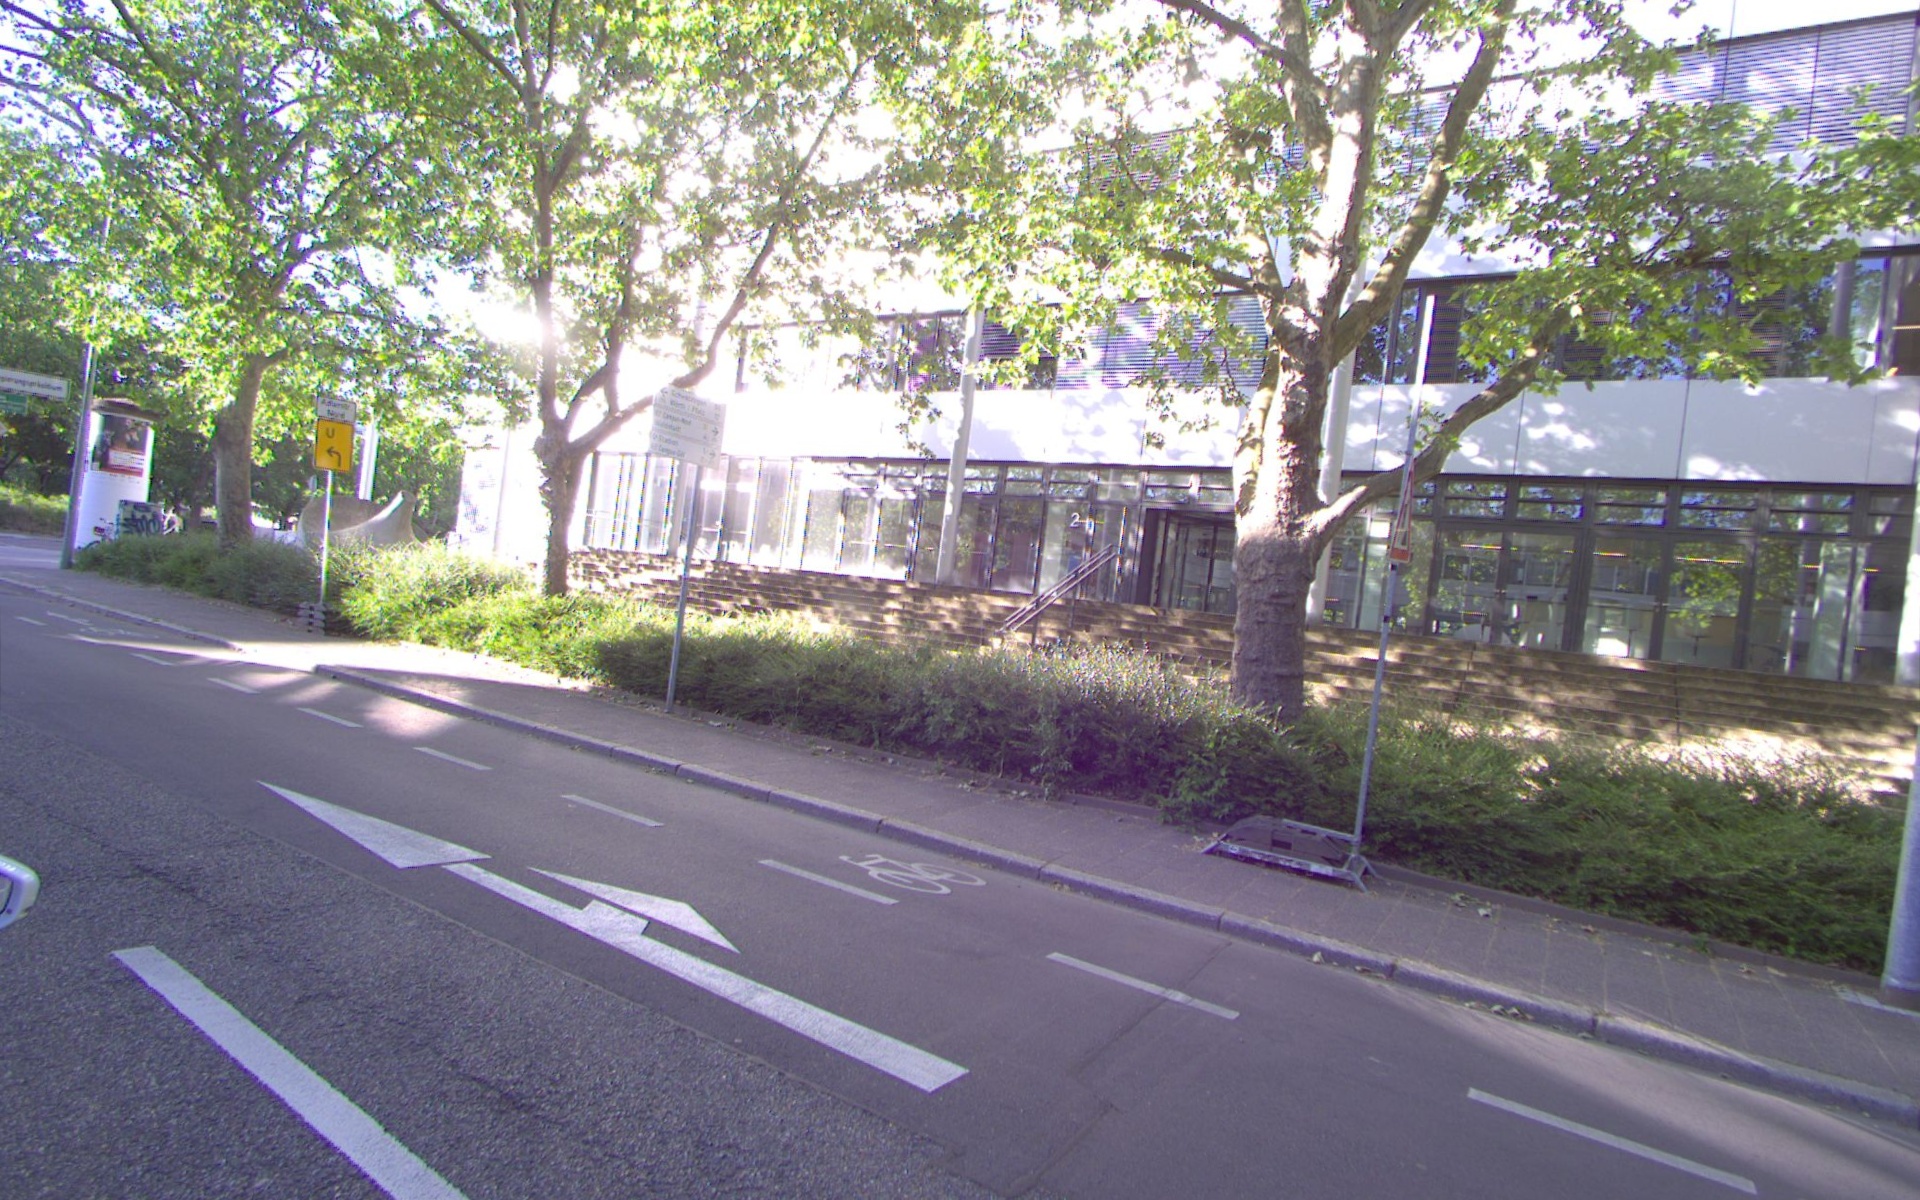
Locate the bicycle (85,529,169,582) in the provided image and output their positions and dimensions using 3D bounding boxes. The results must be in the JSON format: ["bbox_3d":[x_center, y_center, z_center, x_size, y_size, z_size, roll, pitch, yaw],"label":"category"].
[{"bbox_3d":[-19.189,-1.007,23.200,0.357,1.036,1.354,7,-1,33],"label":"bicycle"}]

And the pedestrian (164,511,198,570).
[{"bbox_3d":[-25.738,-1.965,33.235,0.584,1.871,0.552,7,0,33],"label":"pedestrian"}]
